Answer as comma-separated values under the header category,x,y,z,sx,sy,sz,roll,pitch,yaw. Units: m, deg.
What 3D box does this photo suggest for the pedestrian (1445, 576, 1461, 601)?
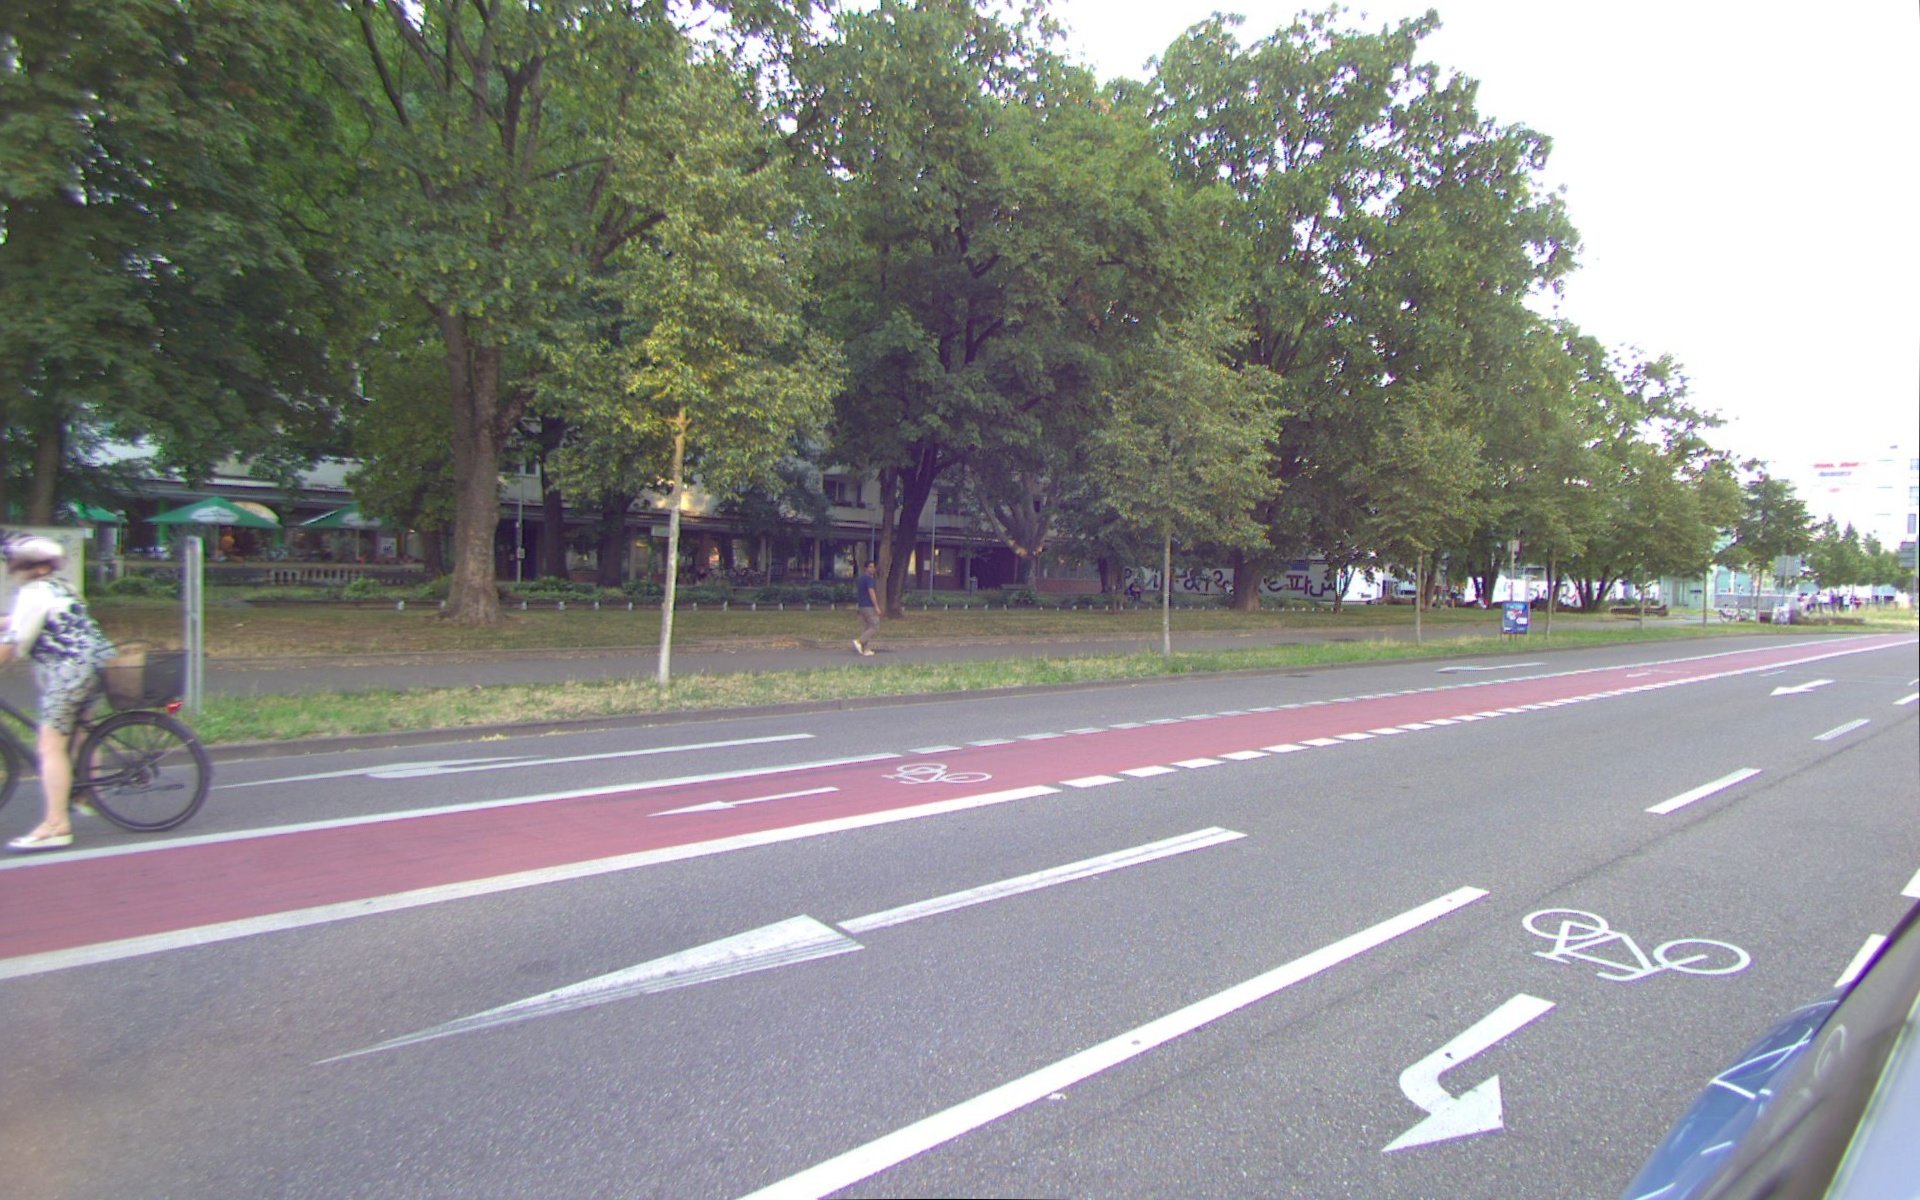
category,x,y,z,sx,sy,sz,roll,pitch,yaw
pedestrian,36.444,-0.867,74.789,0.587,1.843,0.771,1,1,-25

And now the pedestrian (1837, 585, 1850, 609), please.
category,x,y,z,sx,sy,sz,roll,pitch,yaw
pedestrian,74.744,-0.256,85.630,0.608,1.957,0.644,1,2,-38

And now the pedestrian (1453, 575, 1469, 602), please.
category,x,y,z,sx,sy,sz,roll,pitch,yaw
pedestrian,36.161,-0.829,73.105,0.587,1.943,0.771,1,1,-25

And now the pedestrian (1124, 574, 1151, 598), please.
category,x,y,z,sx,sy,sz,roll,pitch,yaw
pedestrian,9.565,-0.765,54.502,0.889,1.276,1.135,0,2,-38

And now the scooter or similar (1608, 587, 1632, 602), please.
category,x,y,z,sx,sy,sz,roll,pitch,yaw
scooter or similar,54.823,-0.470,84.088,0.466,1.236,1.571,0,1,-42

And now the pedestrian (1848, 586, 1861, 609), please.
category,x,y,z,sx,sy,sz,roll,pitch,yaw
pedestrian,75.819,-0.223,85.759,0.608,1.957,0.644,1,2,-38

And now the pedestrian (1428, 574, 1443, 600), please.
category,x,y,z,sx,sy,sz,roll,pitch,yaw
pedestrian,35.304,-0.953,75.106,0.587,1.879,0.771,1,1,-25

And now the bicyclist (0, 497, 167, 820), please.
category,x,y,z,sx,sy,sz,roll,pitch,yaw
bicyclist,-5.137,0.298,5.735,0.734,1.714,0.716,1,1,-2

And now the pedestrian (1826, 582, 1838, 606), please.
category,x,y,z,sx,sy,sz,roll,pitch,yaw
pedestrian,73.550,-0.486,85.351,0.608,1.957,0.644,1,2,-38

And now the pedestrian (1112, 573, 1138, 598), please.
category,x,y,z,sx,sy,sz,roll,pitch,yaw
pedestrian,8.796,-0.779,53.967,0.712,1.276,1.135,1,2,-38

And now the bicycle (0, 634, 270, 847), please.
category,x,y,z,sx,sy,sz,roll,pitch,yaw
bicycle,-5.171,0.761,5.755,1.982,1.082,0.731,1,1,-2

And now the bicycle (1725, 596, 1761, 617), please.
category,x,y,z,sx,sy,sz,roll,pitch,yaw
bicycle,40.711,0.326,52.602,1.858,1.017,0.497,2,4,-21

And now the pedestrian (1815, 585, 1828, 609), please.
category,x,y,z,sx,sy,sz,roll,pitch,yaw
pedestrian,70.152,-0.239,82.385,0.608,1.957,0.644,1,2,-38

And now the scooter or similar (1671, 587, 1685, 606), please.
category,x,y,z,sx,sy,sz,roll,pitch,yaw
scooter or similar,50.389,-0.248,71.033,1.374,1.235,0.425,1,4,-40

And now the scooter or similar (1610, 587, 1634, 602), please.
category,x,y,z,sx,sy,sz,roll,pitch,yaw
scooter or similar,55.384,-0.487,84.667,0.466,1.236,1.571,0,1,-42

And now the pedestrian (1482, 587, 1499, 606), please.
category,x,y,z,sx,sy,sz,roll,pitch,yaw
pedestrian,26.450,-0.189,50.450,0.674,0.895,0.588,2,2,25

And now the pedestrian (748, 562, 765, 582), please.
category,x,y,z,sx,sy,sz,roll,pitch,yaw
pedestrian,-11.835,-1.634,58.909,0.687,1.178,0.788,1,2,-37

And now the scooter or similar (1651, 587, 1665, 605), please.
category,x,y,z,sx,sy,sz,roll,pitch,yaw
scooter or similar,49.582,-0.287,71.882,0.473,1.235,1.550,6,4,43

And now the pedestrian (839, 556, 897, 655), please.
category,x,y,z,sx,sy,sz,roll,pitch,yaw
pedestrian,-1.649,0.091,18.129,0.736,1.714,0.696,0,2,-44

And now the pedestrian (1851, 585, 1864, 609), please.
category,x,y,z,sx,sy,sz,roll,pitch,yaw
pedestrian,74.668,-0.224,84.174,0.608,1.957,0.644,1,2,-38

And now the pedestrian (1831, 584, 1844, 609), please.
category,x,y,z,sx,sy,sz,roll,pitch,yaw
pedestrian,70.858,-0.304,81.694,0.608,1.957,0.644,1,2,-38
